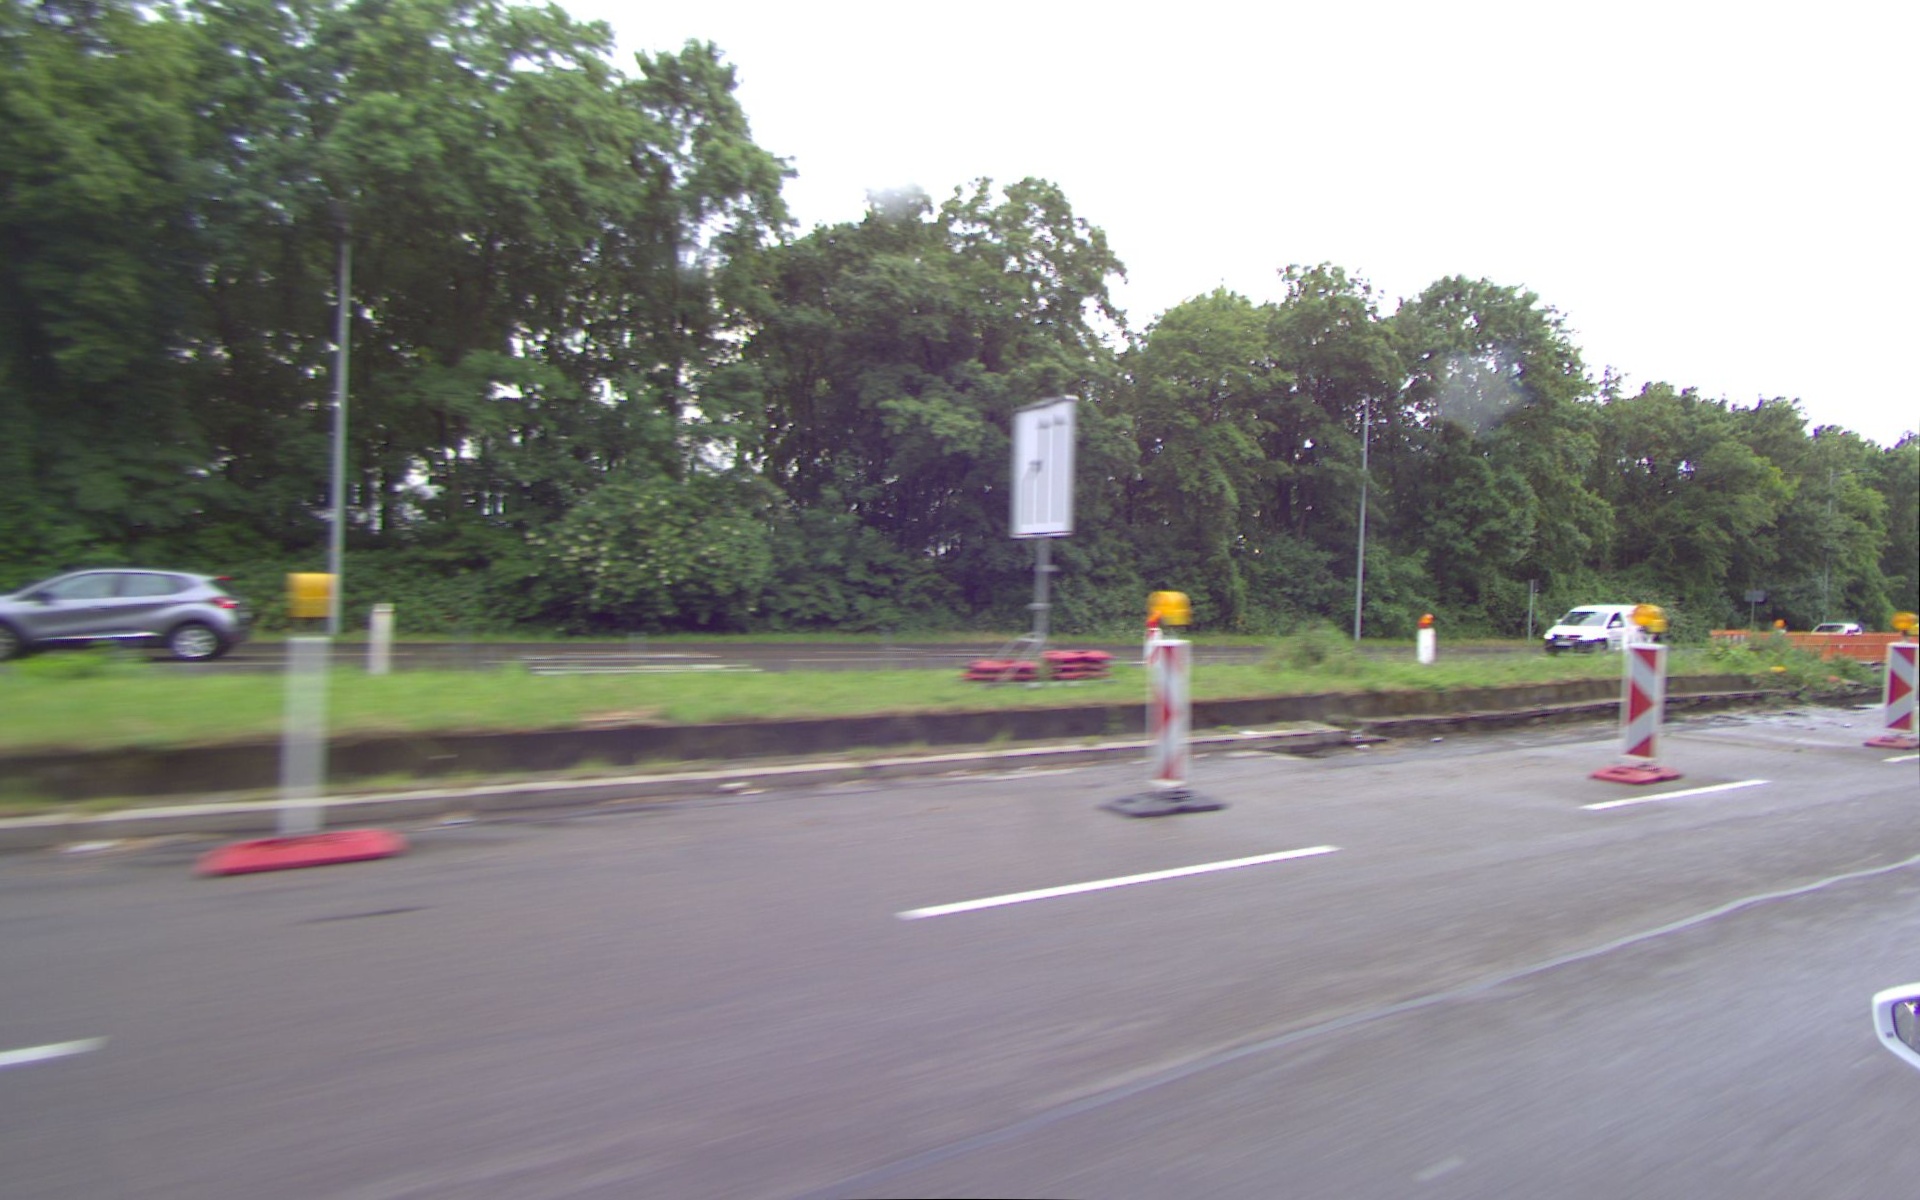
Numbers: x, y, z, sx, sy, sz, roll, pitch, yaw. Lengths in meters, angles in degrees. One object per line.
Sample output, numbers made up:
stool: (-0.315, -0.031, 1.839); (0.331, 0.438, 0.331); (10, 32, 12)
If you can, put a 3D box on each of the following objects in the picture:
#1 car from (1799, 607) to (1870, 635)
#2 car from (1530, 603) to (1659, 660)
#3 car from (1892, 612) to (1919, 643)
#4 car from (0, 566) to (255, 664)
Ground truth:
car: (46.678, 1.109, 53.616); (3.852, 1.444, 1.781); (1, 0, -32)
car: (22.059, 1.031, 34.885); (4.779, 1.805, 1.903); (0, 1, -32)
car: (51.742, 1.459, 53.666); (3.994, 1.571, 1.825); (1, 0, -32)
car: (-14.472, 0.239, 17.155); (3.741, 1.544, 1.665); (1, 1, -28)
